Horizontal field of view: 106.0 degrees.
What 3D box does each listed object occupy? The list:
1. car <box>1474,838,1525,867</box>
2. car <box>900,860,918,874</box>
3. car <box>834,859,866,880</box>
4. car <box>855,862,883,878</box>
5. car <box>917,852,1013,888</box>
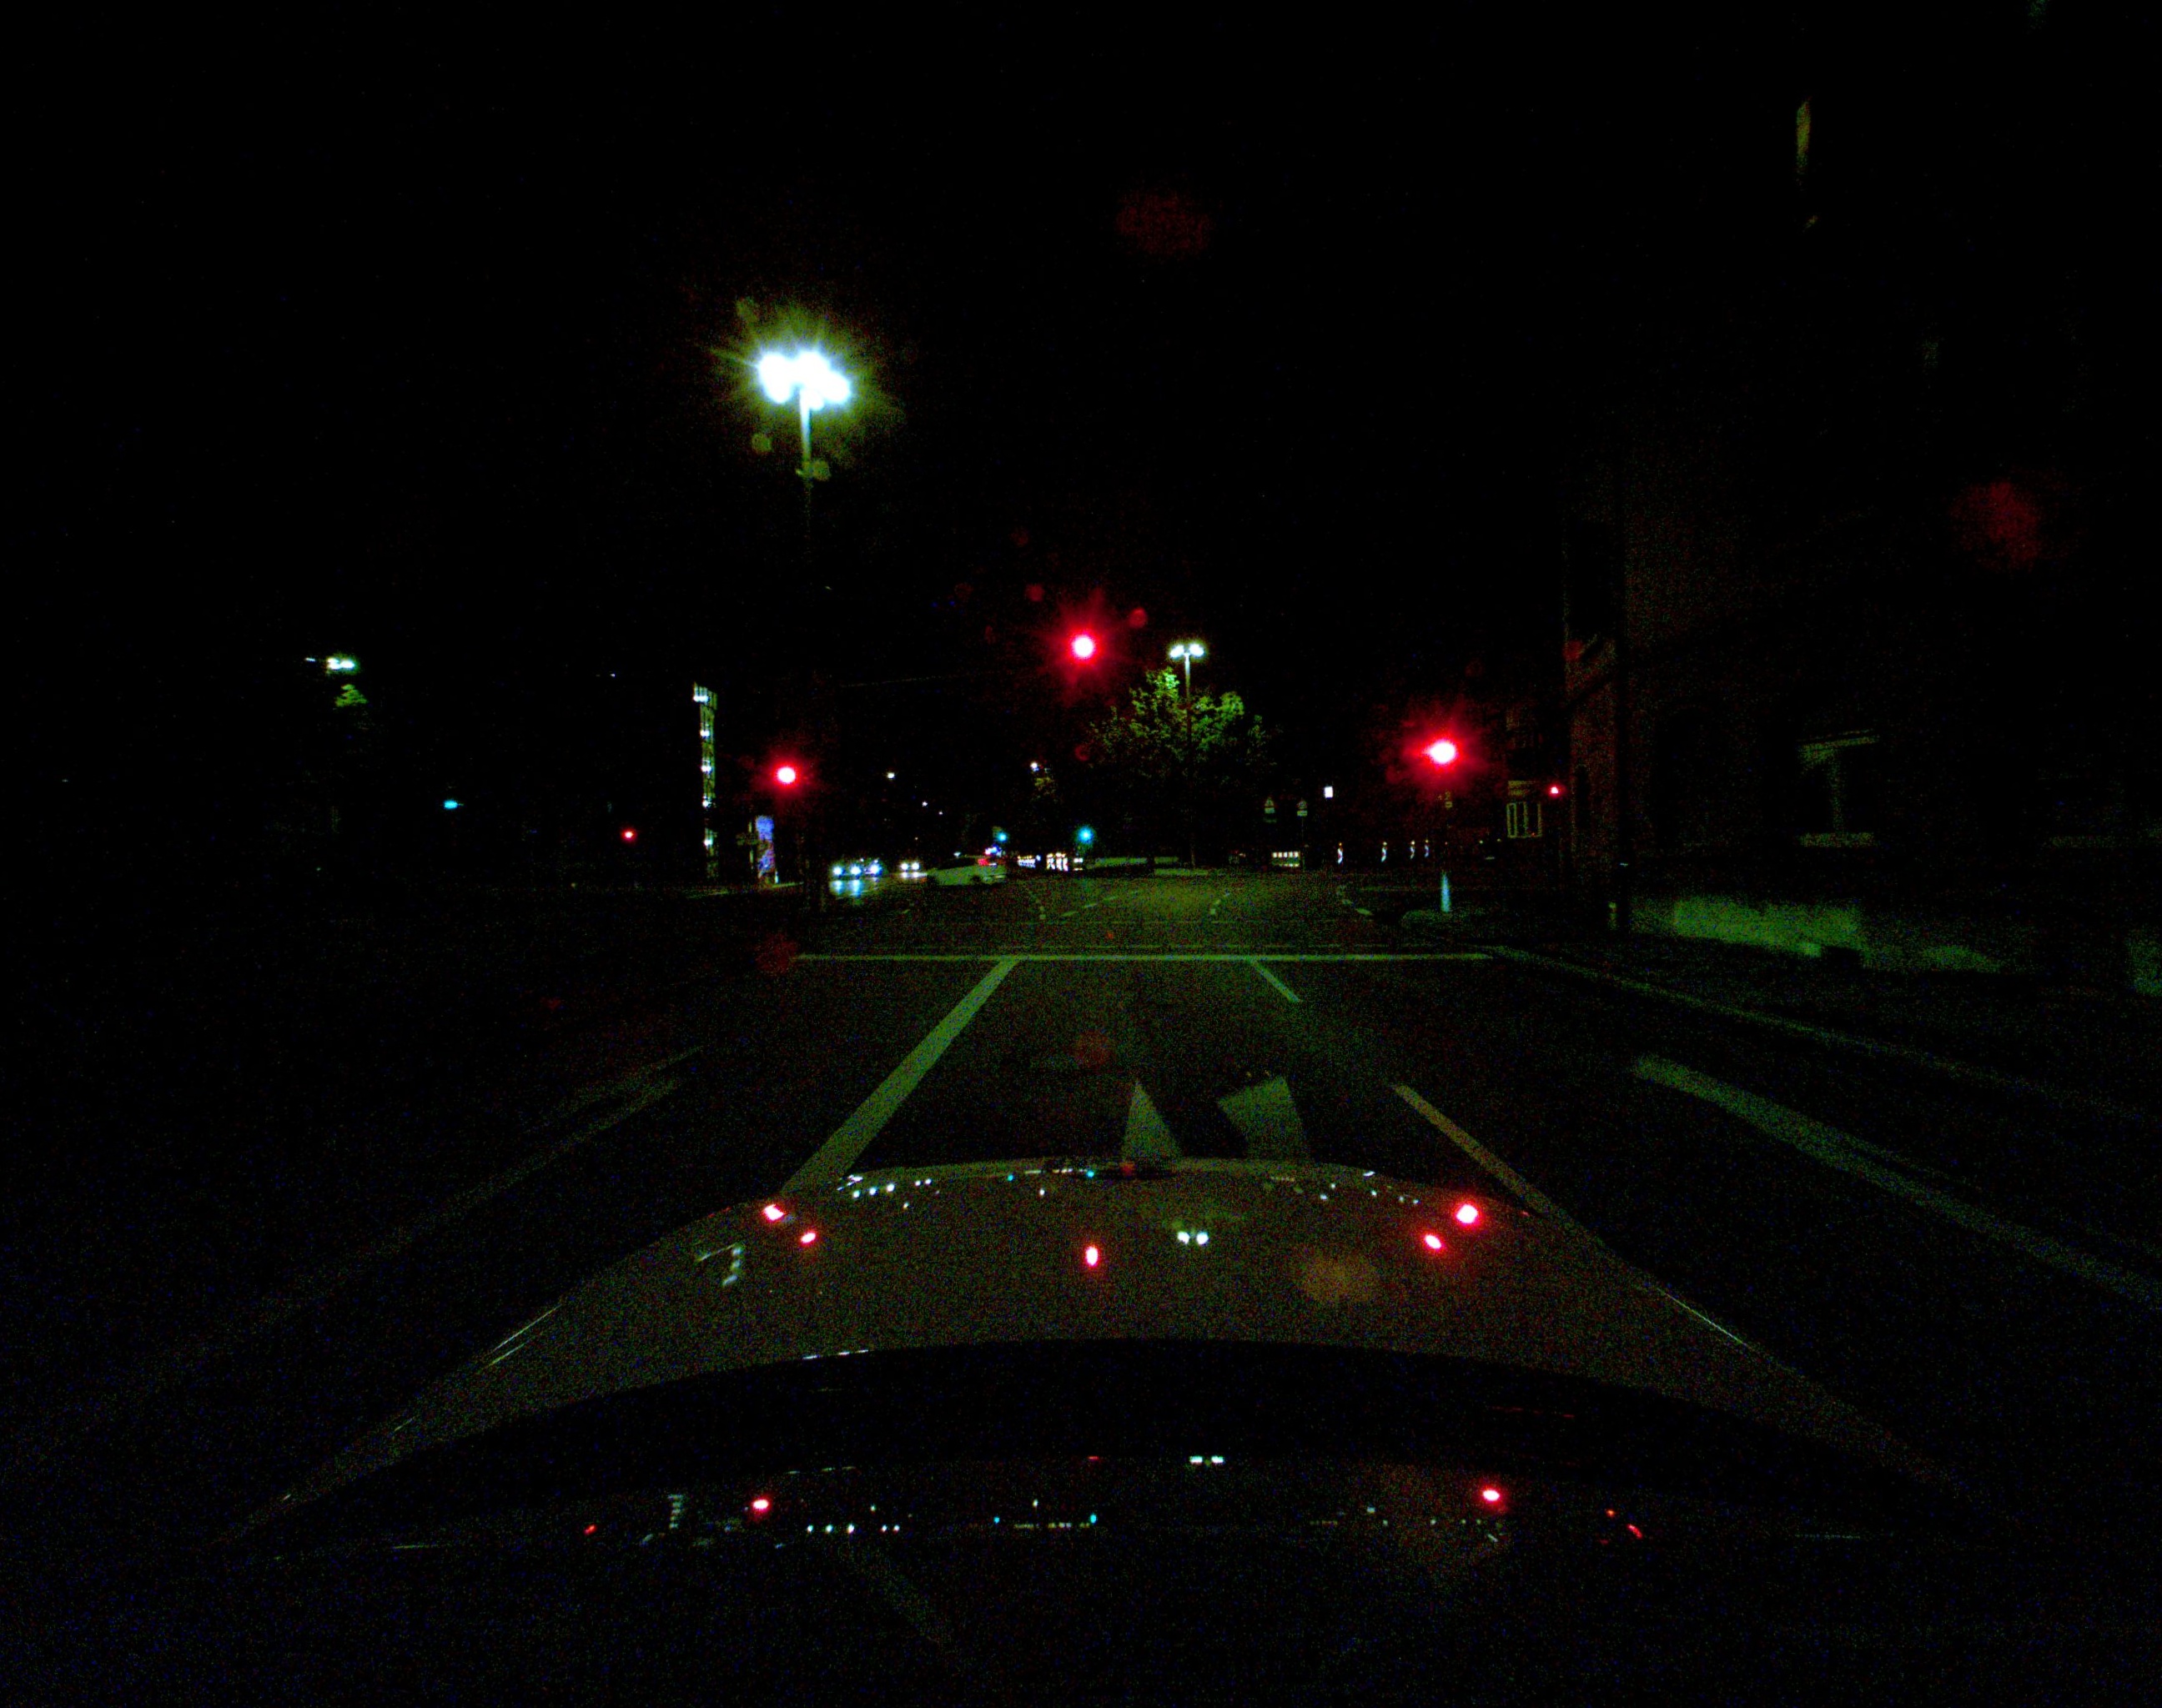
[{"bbox_3d":[24.297,-0.085,47.238,1.711,1.611,3.646,-2,-1,43],"label":"car"},{"bbox_3d":[-21.898,1.602,103.754,1.755,1.728,3.540,-2,-1,-6],"label":"car"},{"bbox_3d":[-17.699,1.150,62.642,1.613,1.515,3.993,-2,-1,-5],"label":"car"},{"bbox_3d":[-18.229,1.393,70.253,1.755,1.322,3.540,-2,-1,-6],"label":"car"},{"bbox_3d":[-5.181,0.724,36.211,3.949,1.491,1.719,-2,-1,28],"label":"car"}]
